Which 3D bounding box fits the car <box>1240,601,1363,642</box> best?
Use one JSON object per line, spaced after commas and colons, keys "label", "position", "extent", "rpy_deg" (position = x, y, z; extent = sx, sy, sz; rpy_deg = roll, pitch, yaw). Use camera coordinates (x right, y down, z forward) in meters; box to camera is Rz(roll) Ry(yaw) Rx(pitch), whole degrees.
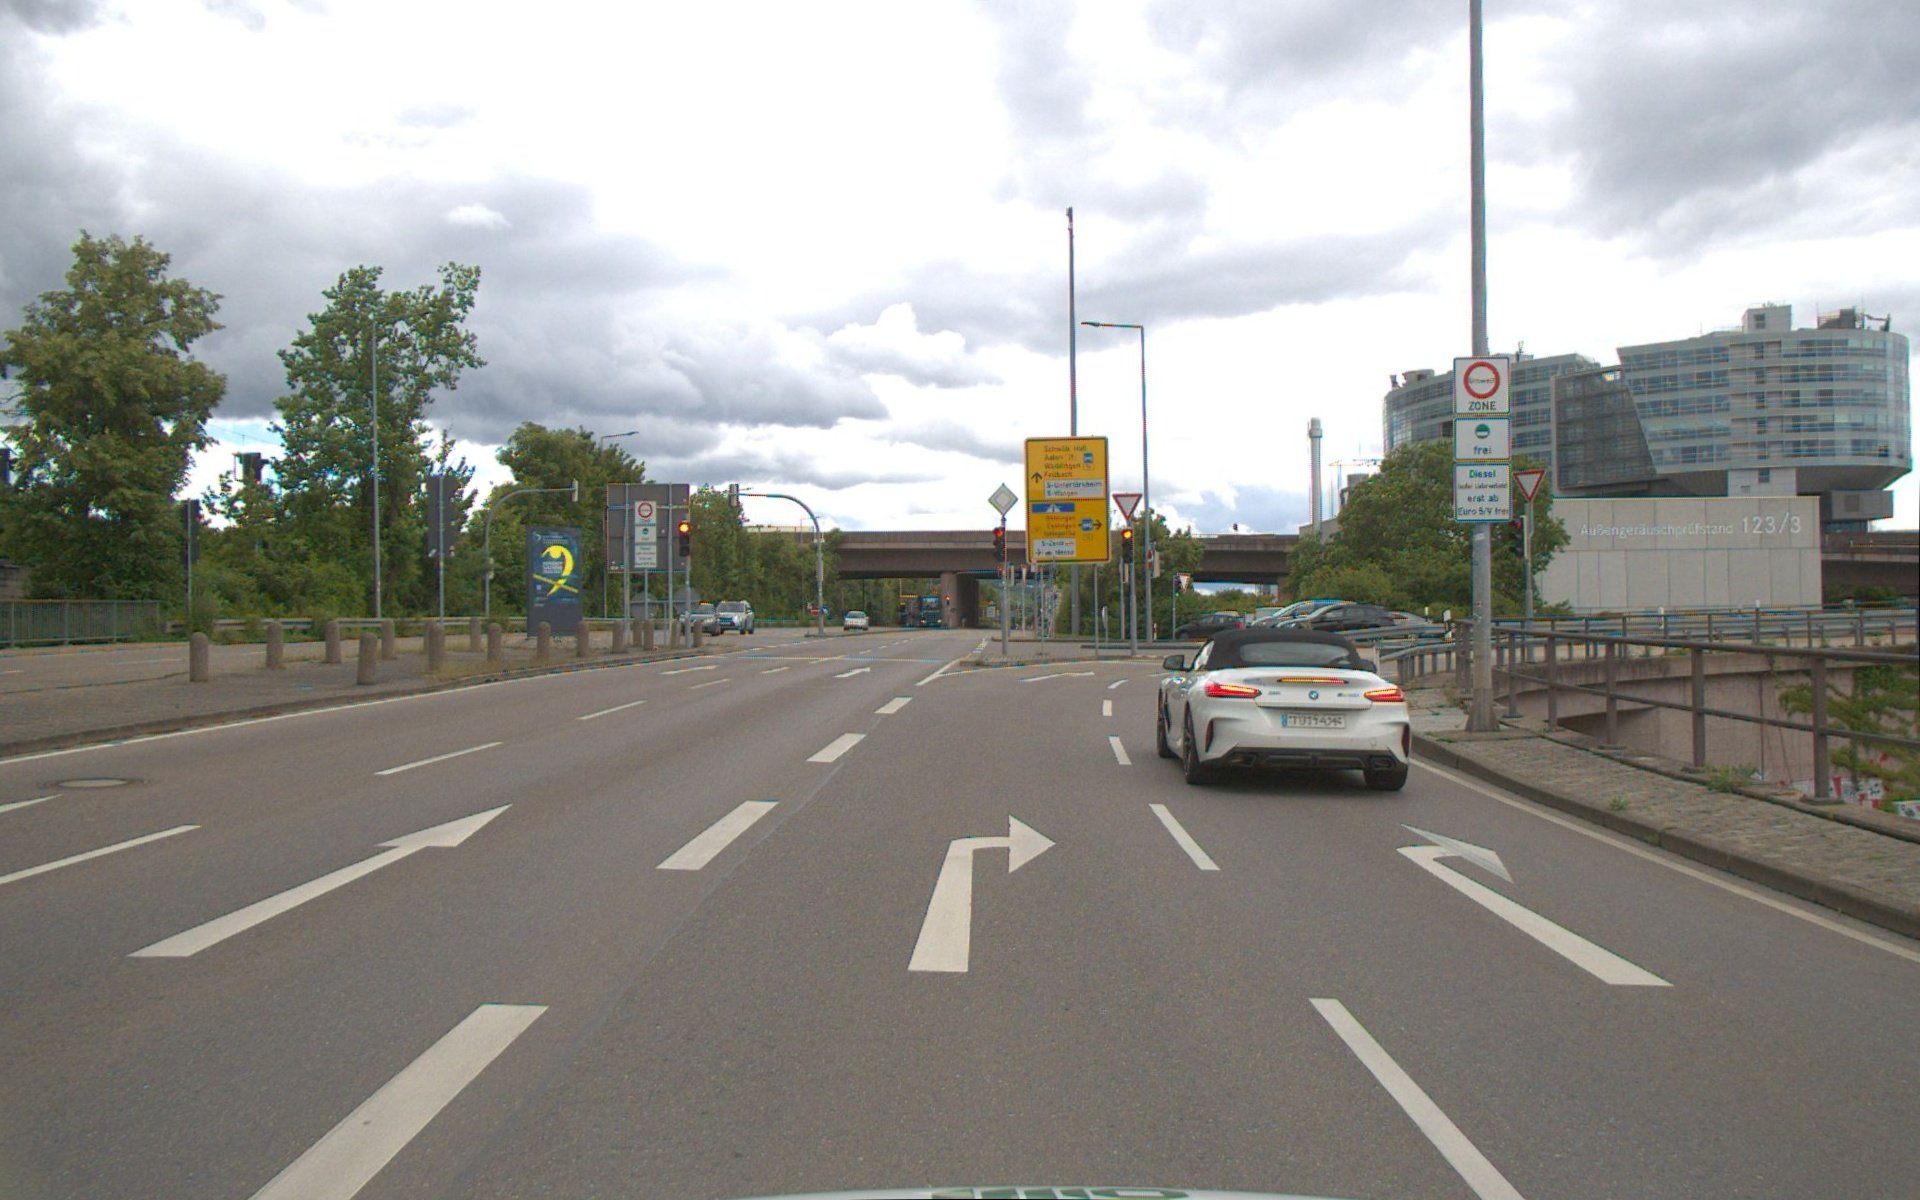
{"label": "car", "position": [13.750, 0.844, 66.824], "extent": [4.583, 1.599, 1.956], "rpy_deg": [0, 0, 0]}

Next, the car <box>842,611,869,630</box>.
{"label": "car", "position": [-7.997, 1.569, 126.889], "extent": [1.689, 1.425, 4.066], "rpy_deg": [0, 0, 1]}

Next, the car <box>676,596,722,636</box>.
{"label": "car", "position": [-11.744, 0.758, 74.226], "extent": [1.694, 1.487, 4.229], "rpy_deg": [4, -4, -12]}

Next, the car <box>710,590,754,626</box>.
{"label": "car", "position": [-11.484, 0.418, 83.558], "extent": [1.689, 1.767, 4.554], "rpy_deg": [0, 0, -1]}

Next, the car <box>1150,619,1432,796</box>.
{"label": "car", "position": [2.850, 0.870, 15.162], "extent": [1.768, 1.314, 4.263], "rpy_deg": [1, 0, 1]}

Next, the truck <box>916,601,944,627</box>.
{"label": "truck", "position": [-3.349, 1.563, 187.027], "extent": [2.558, 2.669, 5.782], "rpy_deg": [4, 0, 4]}

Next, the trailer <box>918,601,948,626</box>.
{"label": "trailer", "position": [-3.110, 1.591, 191.582], "extent": [2.547, 2.669, 8.574], "rpy_deg": [4, 0, 5]}

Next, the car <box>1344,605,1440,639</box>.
{"label": "car", "position": [19.744, 1.016, 75.568], "extent": [4.014, 1.467, 1.999], "rpy_deg": [0, -3, 24]}

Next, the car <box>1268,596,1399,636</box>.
{"label": "car", "position": [14.151, 0.599, 62.864], "extent": [4.514, 1.483, 1.954], "rpy_deg": [0, 0, -4]}

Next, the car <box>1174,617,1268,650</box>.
{"label": "car", "position": [12.526, 1.606, 79.499], "extent": [4.027, 1.490, 1.993], "rpy_deg": [-1, -3, 35]}
